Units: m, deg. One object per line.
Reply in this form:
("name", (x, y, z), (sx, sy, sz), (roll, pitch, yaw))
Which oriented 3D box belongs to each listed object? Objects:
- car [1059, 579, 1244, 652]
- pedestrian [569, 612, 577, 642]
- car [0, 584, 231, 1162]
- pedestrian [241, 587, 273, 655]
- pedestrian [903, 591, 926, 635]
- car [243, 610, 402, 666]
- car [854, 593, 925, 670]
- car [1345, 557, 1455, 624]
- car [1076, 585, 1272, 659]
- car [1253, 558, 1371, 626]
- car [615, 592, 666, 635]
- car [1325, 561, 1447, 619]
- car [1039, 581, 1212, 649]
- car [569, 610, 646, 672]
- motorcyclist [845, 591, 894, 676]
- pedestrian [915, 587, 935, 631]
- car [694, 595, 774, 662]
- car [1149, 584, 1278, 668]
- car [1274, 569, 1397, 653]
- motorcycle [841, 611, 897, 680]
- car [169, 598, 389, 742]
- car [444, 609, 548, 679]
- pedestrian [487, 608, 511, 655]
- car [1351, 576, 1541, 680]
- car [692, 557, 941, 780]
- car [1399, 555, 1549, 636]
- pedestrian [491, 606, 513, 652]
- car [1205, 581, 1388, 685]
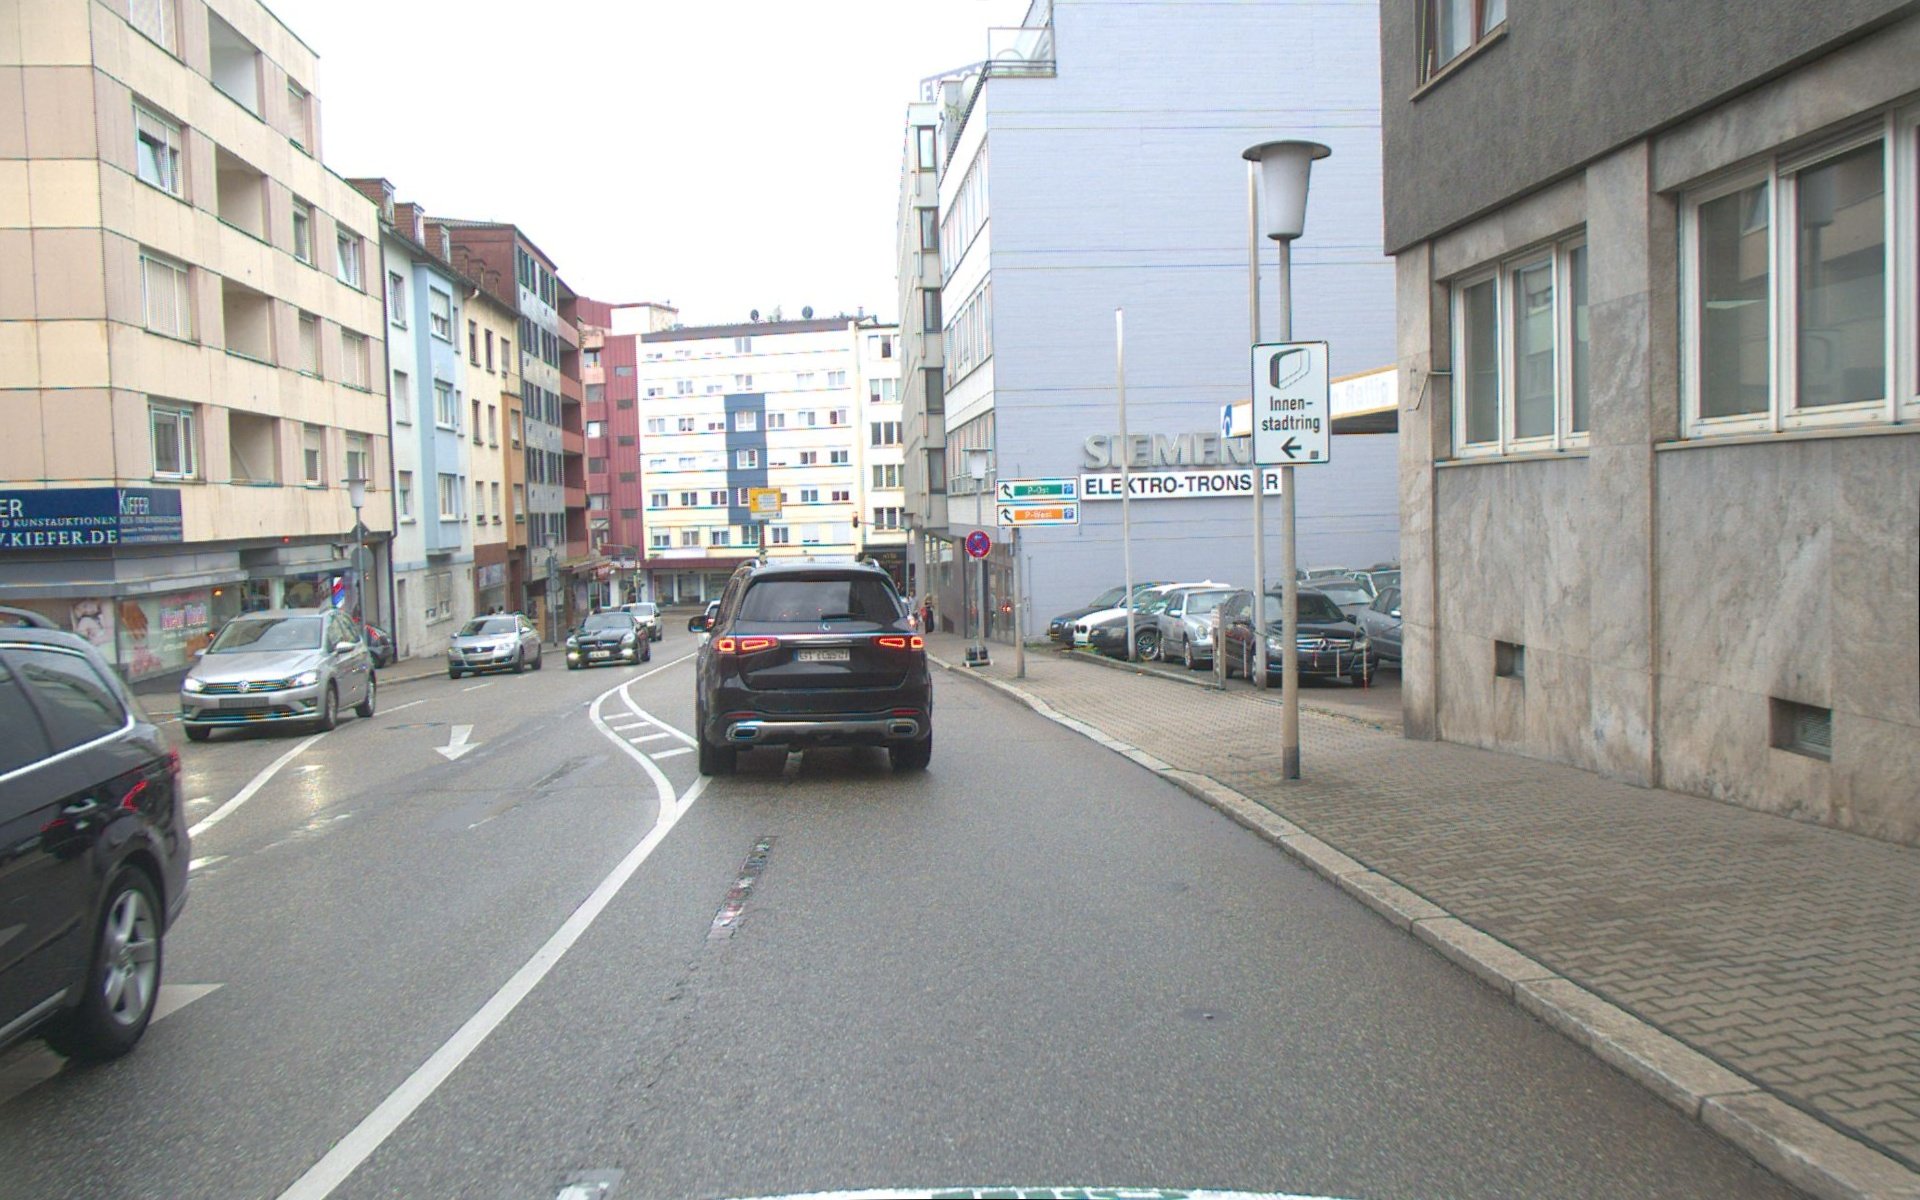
("car", (4.433, 0.374, 38.375), (3.934, 1.625, 1.786), (0, -1, -24))
("pedestrian", (-20.070, 1.403, 85.731), (0.311, 1.499, 0.339), (-1, 4, 0))
("car", (-3.389, 0.749, 4.070), (1.691, 1.542, 4.362), (-2, -1, -7))
("pedestrian", (-18.828, 0.561, 44.291), (0.588, 1.759, 0.571), (-1, 4, -8))
("pedestrian", (-1.744, 0.496, 63.451), (0.754, 1.640, 0.703), (-1, 2, -8))
("car", (-18.292, 1.088, 47.614), (3.911, 1.525, 1.796), (-1, -1, -7))
("car", (-1.675, 0.694, 38.530), (1.389, 1.679, 3.103), (-1, 1, -7))
("car", (11.161, -0.213, 42.162), (1.423, 1.625, 3.384), (0, -1, -10))
("car", (4.639, 0.479, 35.872), (3.934, 1.521, 1.720), (0, -1, -24))
("car", (8.938, -0.161, 42.282), (1.614, 1.625, 3.858), (0, -1, -10))
("car", (-14.721, 0.603, 76.357), (1.834, 1.783, 4.393), (-4, 1, -6))
("car", (9.609, -0.192, 37.544), (1.423, 1.223, 3.384), (0, -1, -10))
("car", (4.096, 0.377, 40.973), (3.934, 1.625, 1.786), (0, -1, -24))
("car", (-8.768, 0.984, 41.363), (1.683, 1.340, 4.134), (-2, 1, -10))
("motorcyclist", (-1.753, 0.638, 31.794), (0.850, 1.587, 0.762), (-1, -1, -8))
("pedestrian", (-1.364, 0.350, 64.245), (0.704, 1.640, 0.609), (-1, 2, -8))
("car", (-5.603, 0.659, 40.921), (1.796, 1.487, 4.371), (-2, 0, -8))
("car", (4.792, 0.457, 31.769), (1.535, 1.503, 4.066), (0, 0, -5))
("car", (7.244, 0.241, 32.167), (1.496, 1.539, 3.390), (0, -1, -2))
("motorcycle", (-1.772, 0.852, 31.796), (0.851, 1.207, 2.557), (-1, 1, -8))
("car", (-8.917, 0.873, 22.014), (1.683, 1.614, 4.135), (-4, 0, -9))
("car", (-11.677, 1.090, 41.887), (1.711, 1.565, 4.636), (-4, 0, -7))
("pedestrian", (-17.096, 1.156, 61.296), (0.726, 1.680, 0.605), (-1, 4, -8))
("car", (7.707, 0.409, 26.663), (1.760, 1.503, 4.485), (-1, 0, 0))
("car", (-1.424, 0.543, 15.618), (1.982, 1.770, 4.740), (0, 0, -7))
("car", (10.281, -0.044, 33.332), (1.523, 1.539, 3.514), (0, -1, -8))
("pedestrian", (-17.216, 1.079, 62.160), (0.659, 1.680, 0.605), (-1, 4, -8))
("car", (5.204, 0.468, 26.160), (1.761, 1.503, 4.482), (0, 0, -3))
